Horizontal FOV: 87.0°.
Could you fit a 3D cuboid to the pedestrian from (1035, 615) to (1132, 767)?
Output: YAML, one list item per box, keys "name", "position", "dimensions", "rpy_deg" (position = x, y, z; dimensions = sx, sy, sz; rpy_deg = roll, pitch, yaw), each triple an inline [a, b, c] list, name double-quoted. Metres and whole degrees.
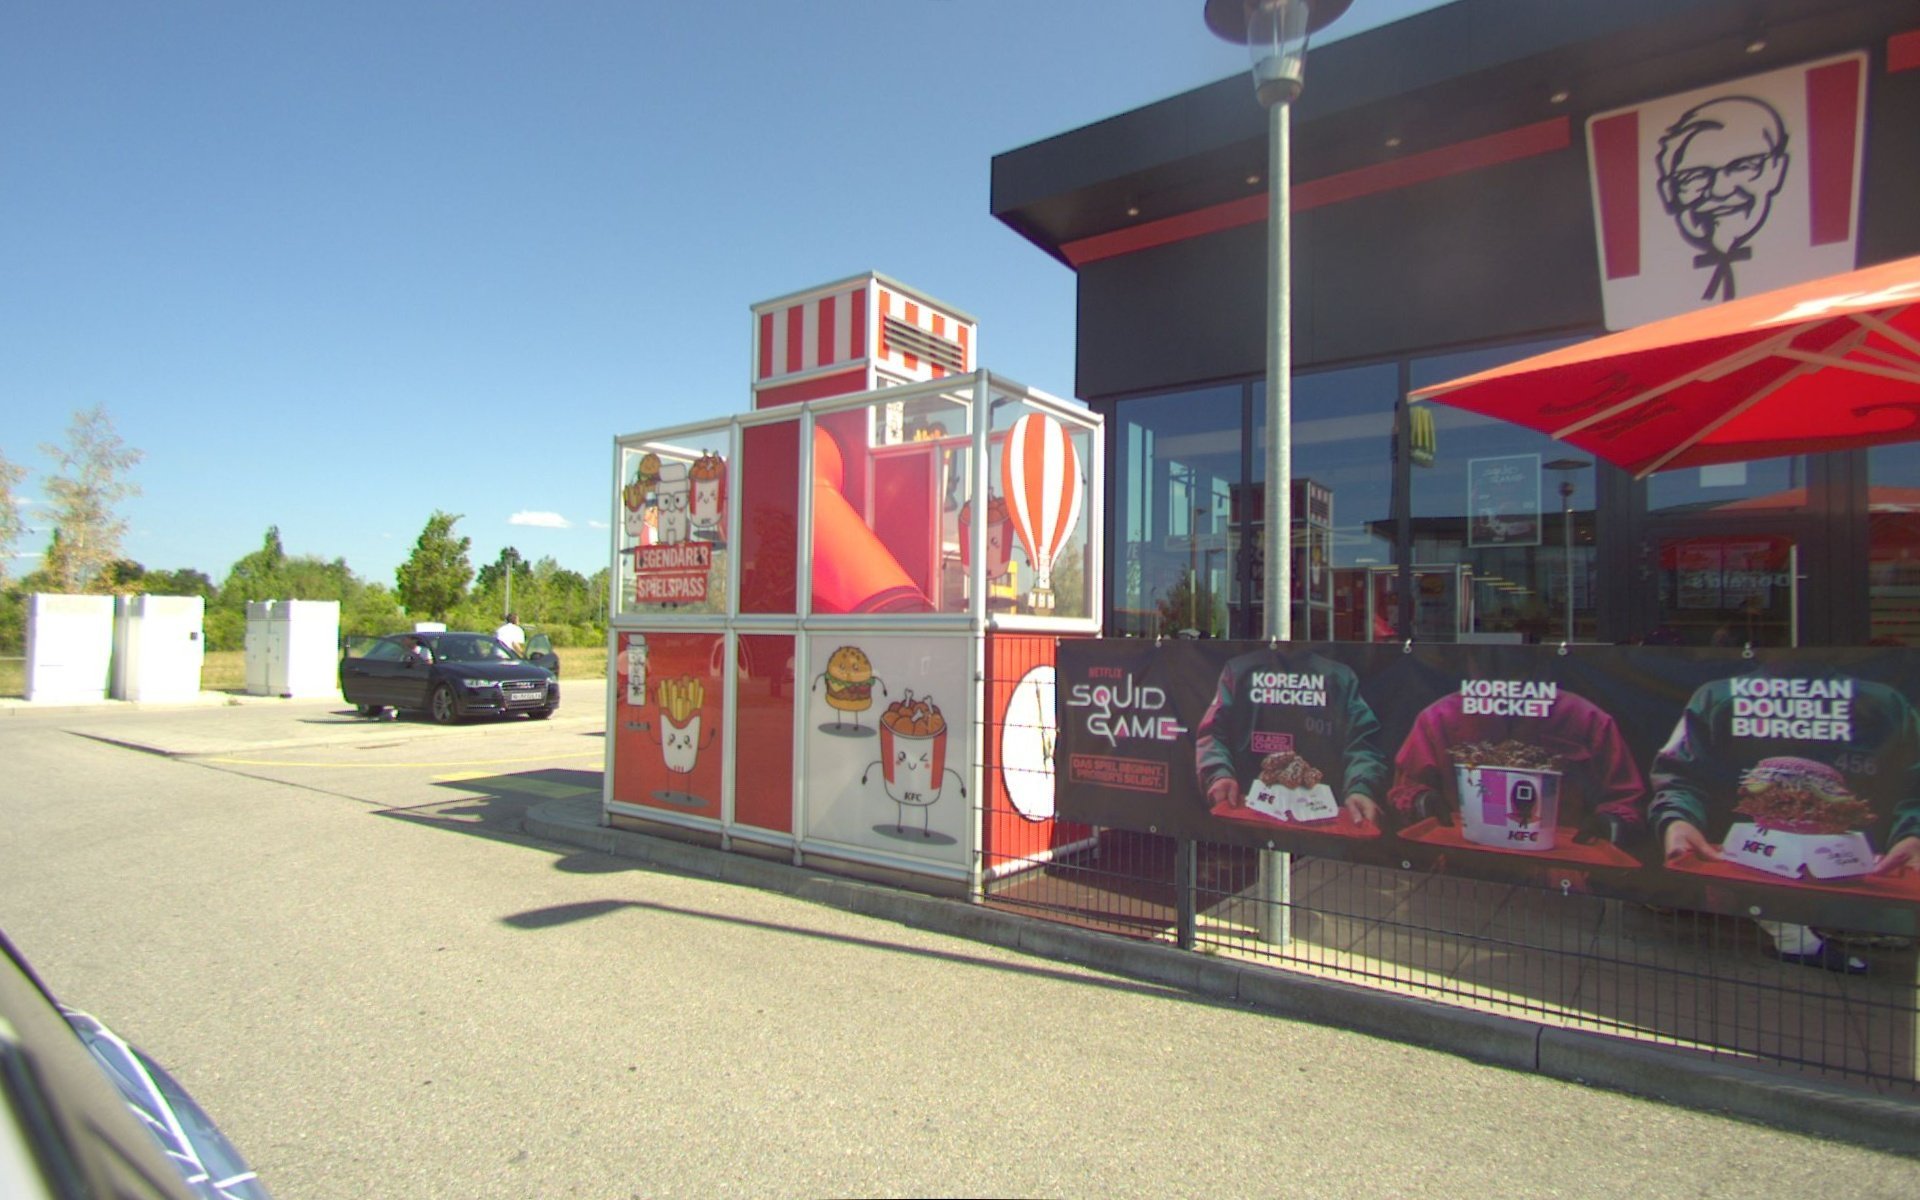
- name: "pedestrian"
  position: [1.252, 0.883, 10.232]
  dimensions: [0.692, 1.454, 0.789]
  rpy_deg: [-1, -2, 35]

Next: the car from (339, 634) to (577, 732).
- name: "car"
  position: [-8.338, 1.275, 16.689]
  dimensions: [4.306, 1.422, 1.708]
  rpy_deg: [-1, -3, 36]

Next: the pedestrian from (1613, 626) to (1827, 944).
- name: "pedestrian"
  position: [3.514, 0.782, 4.684]
  dimensions: [0.656, 1.314, 0.687]
  rpy_deg: [2, -3, -45]

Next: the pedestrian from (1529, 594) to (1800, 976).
- name: "pedestrian"
  position: [2.946, 0.695, 4.247]
  dimensions: [0.656, 1.398, 0.808]
  rpy_deg: [2, -3, -45]

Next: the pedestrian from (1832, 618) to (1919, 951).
- name: "pedestrian"
  position: [4.108, 0.735, 4.168]
  dimensions: [0.656, 1.314, 0.712]
  rpy_deg: [2, -3, -45]

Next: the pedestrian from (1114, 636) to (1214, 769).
- name: "pedestrian"
  position: [1.975, 0.958, 9.785]
  dimensions: [0.693, 1.209, 0.745]
  rpy_deg: [-1, -2, 37]

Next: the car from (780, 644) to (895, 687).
- name: "car"
  position: [-4.855, 2.573, 40.695]
  dimensions: [2.214, 1.538, 4.378]
  rpy_deg: [0, -2, 36]

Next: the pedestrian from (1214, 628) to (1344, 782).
- name: "pedestrian"
  position: [2.934, 0.925, 9.313]
  dimensions: [0.943, 1.322, 0.746]
  rpy_deg: [-1, -2, 37]
